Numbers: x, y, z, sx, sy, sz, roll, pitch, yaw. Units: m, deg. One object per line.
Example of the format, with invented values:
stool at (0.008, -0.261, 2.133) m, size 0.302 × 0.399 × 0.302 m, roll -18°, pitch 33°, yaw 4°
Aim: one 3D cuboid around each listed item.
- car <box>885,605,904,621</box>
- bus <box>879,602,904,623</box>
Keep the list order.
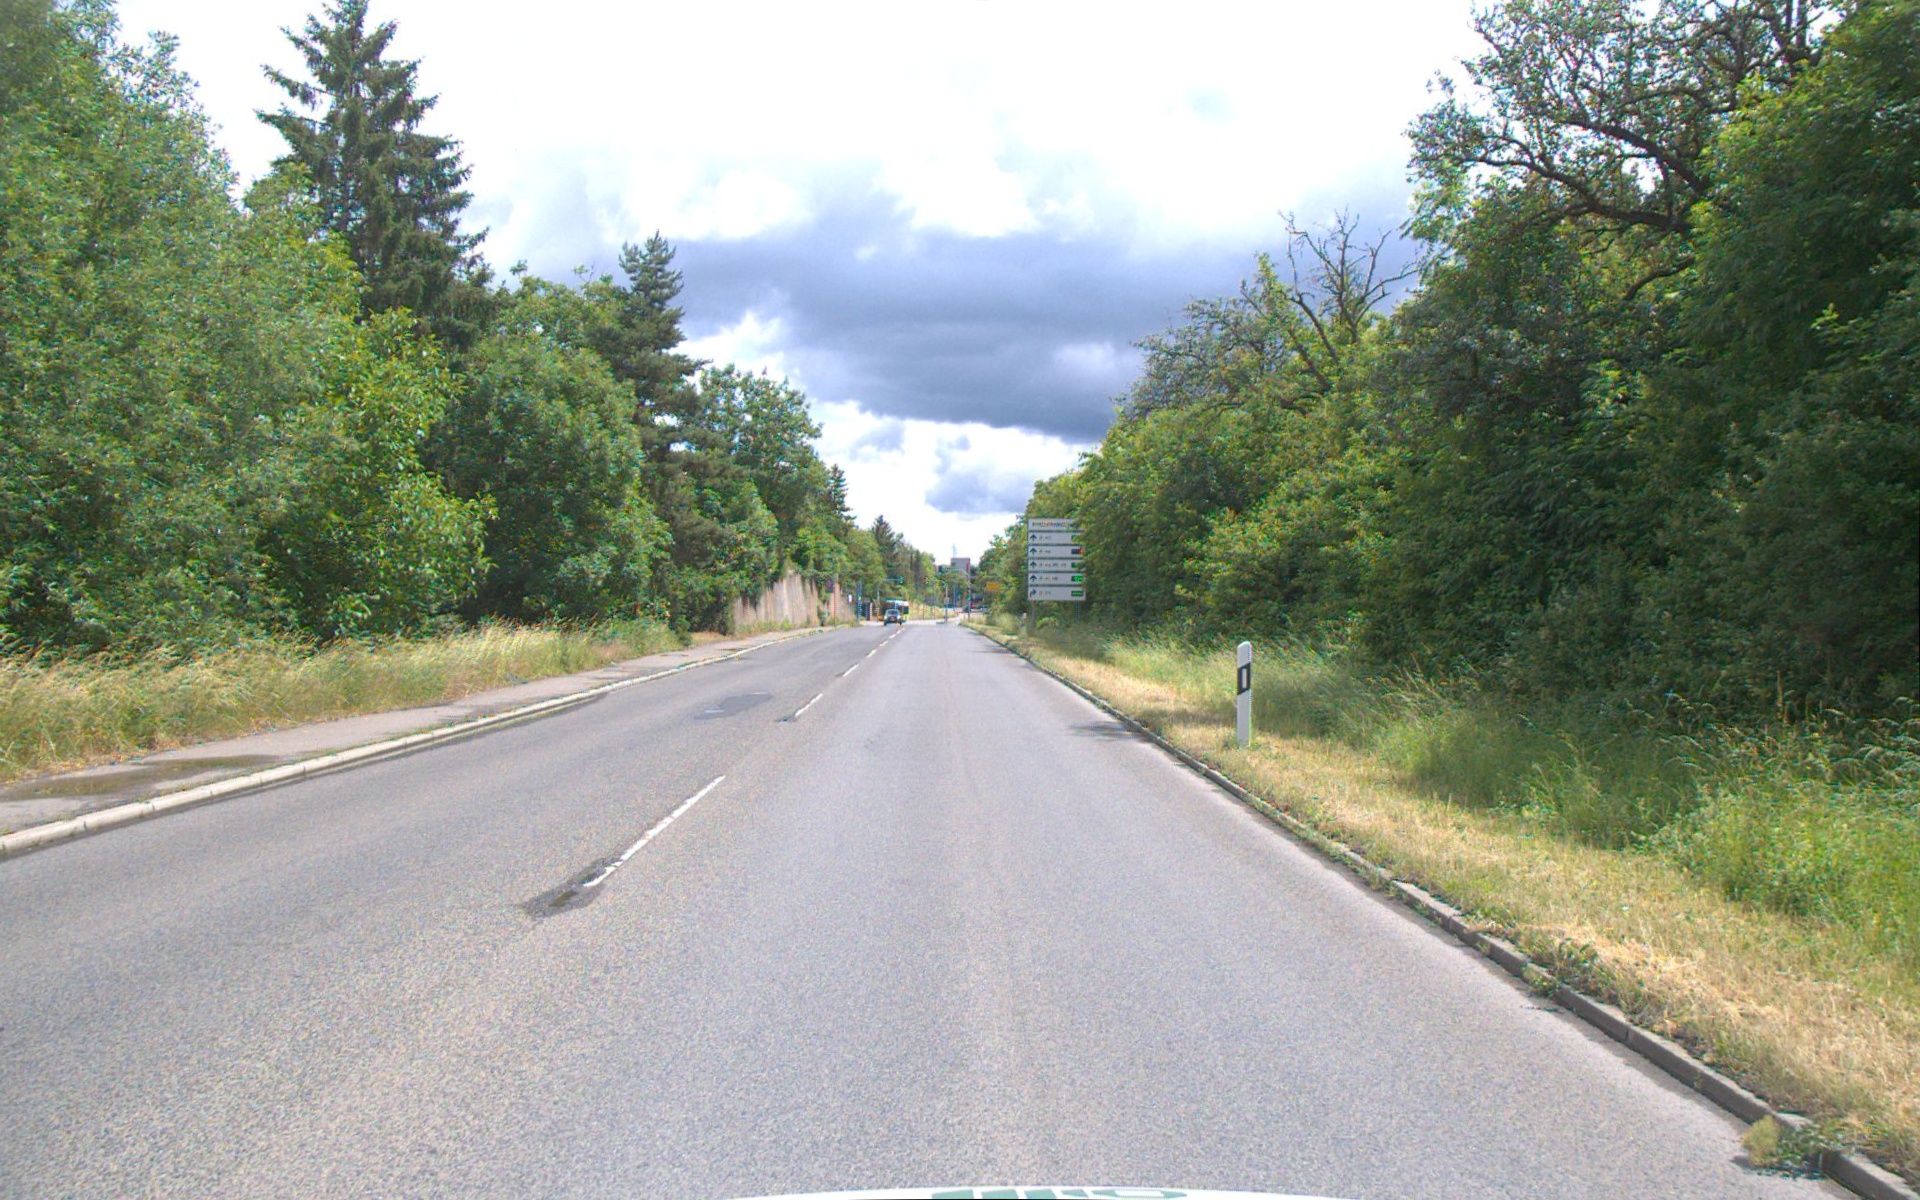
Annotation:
car at (-6.304, 1.235, 159.997) m, size 1.716 × 1.489 × 3.999 m, roll -1°, pitch 0°, yaw -1°
bus at (-10.002, 1.785, 241.363) m, size 2.834 × 2.949 × 7.670 m, roll 2°, pitch 1°, yaw 3°
